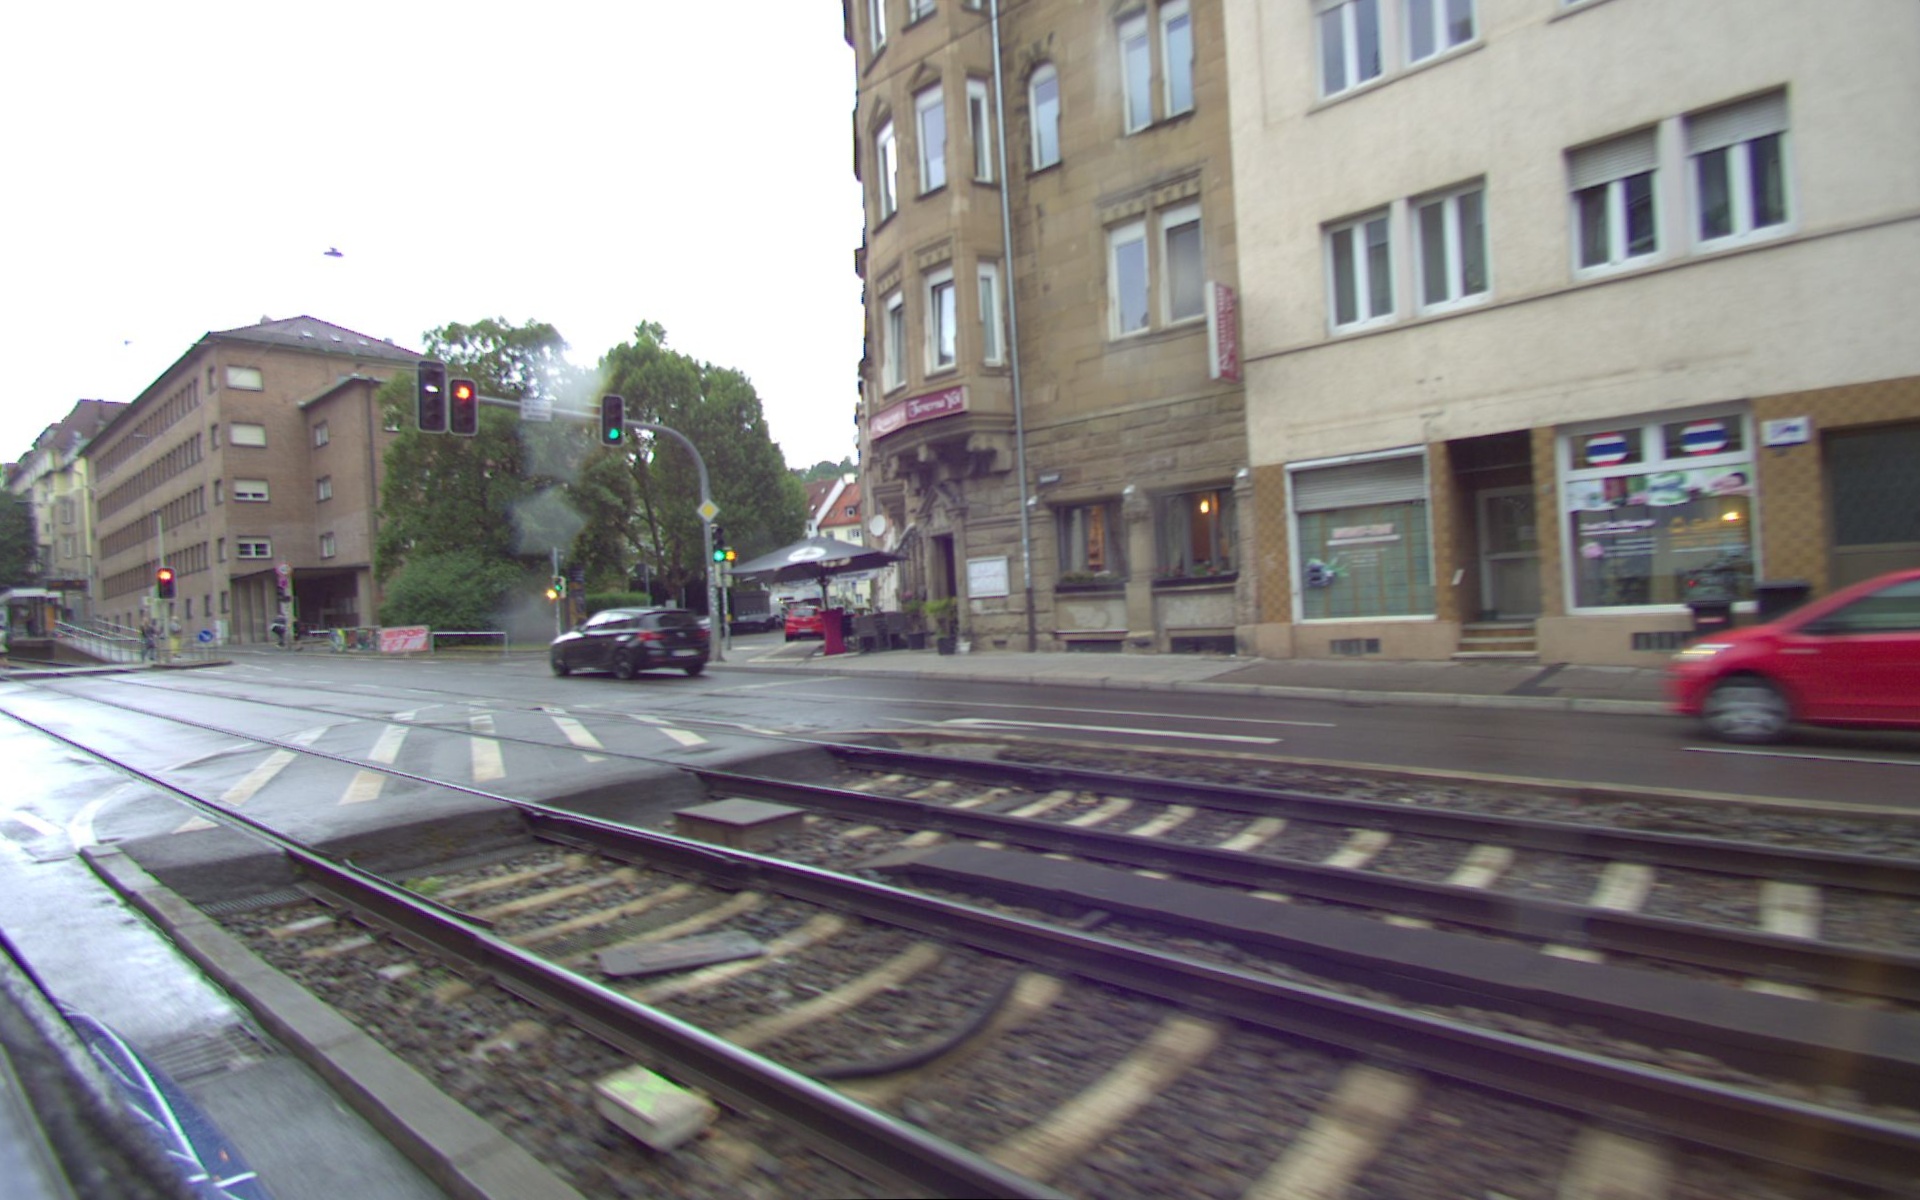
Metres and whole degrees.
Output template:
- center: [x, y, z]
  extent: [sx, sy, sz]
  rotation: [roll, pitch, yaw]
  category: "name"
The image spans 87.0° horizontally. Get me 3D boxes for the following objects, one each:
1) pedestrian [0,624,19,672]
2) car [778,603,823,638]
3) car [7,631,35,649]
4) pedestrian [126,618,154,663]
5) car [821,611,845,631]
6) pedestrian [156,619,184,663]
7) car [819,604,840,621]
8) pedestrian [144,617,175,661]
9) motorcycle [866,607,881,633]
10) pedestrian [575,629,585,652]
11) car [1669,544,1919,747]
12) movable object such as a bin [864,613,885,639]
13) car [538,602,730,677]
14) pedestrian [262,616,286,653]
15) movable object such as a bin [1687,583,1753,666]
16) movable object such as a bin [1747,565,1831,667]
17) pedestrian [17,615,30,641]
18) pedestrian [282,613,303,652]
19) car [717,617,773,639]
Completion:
- center: [-32.648, 1.640, 34.337]
  extent: [0.949, 1.595, 0.690]
  rotation: [-2, -1, 20]
  category: "pedestrian"
- center: [-6.804, 0.871, 43.499]
  extent: [1.715, 1.413, 4.006]
  rotation: [-1, -1, -7]
  category: "car"
- center: [-86.657, 3.688, 93.386]
  extent: [3.111, 1.477, 1.626]
  rotation: [-2, 0, 43]
  category: "car"
- center: [-32.454, 1.589, 40.067]
  extent: [0.688, 1.711, 0.658]
  rotation: [-1, 3, 39]
  category: "pedestrian"
- center: [-9.698, 1.593, 77.517]
  extent: [1.715, 1.413, 4.006]
  rotation: [-1, -1, -7]
  category: "car"
- center: [-30.961, 1.600, 39.655]
  extent: [0.640, 1.659, 0.736]
  rotation: [0, 2, 42]
  category: "pedestrian"
- center: [-11.472, 1.097, 88.946]
  extent: [1.715, 1.413, 4.006]
  rotation: [-1, -1, -7]
  category: "car"
- center: [-32.630, 1.585, 41.257]
  extent: [0.882, 1.709, 0.736]
  rotation: [-1, 2, 40]
  category: "pedestrian"
- center: [-4.413, 1.010, 51.643]
  extent: [0.737, 1.265, 1.861]
  rotation: [-1, -1, -6]
  category: "motorcycle"
- center: [-18.468, 1.954, 49.189]
  extent: [0.411, 1.093, 0.283]
  rotation: [-1, -1, -25]
  category: "pedestrian"
- center: [7.850, 0.322, 7.957]
  extent: [3.518, 1.508, 1.662]
  rotation: [-2, -1, 42]
  category: "car"
- center: [-3.473, 1.053, 41.004]
  extent: [0.709, 1.050, 0.553]
  rotation: [-1, -1, -18]
  category: "movable object such as a bin"
- center: [-6.856, 0.796, 21.065]
  extent: [4.273, 1.407, 1.927]
  rotation: [-2, -2, 42]
  category: "car"
- center: [-31.703, 1.600, 46.784]
  extent: [0.648, 1.663, 0.757]
  rotation: [-2, -1, 41]
  category: "pedestrian"
- center: [9.054, 0.282, 12.059]
  extent: [0.560, 0.917, 0.587]
  rotation: [-2, 3, 41]
  category: "movable object such as a bin"
- center: [9.502, 0.175, 11.598]
  extent: [0.687, 1.082, 0.706]
  rotation: [-2, 3, 41]
  category: "movable object such as a bin"
- center: [-61.762, 1.861, 66.756]
  extent: [0.491, 1.722, 0.581]
  rotation: [-3, -1, 41]
  category: "pedestrian"
- center: [-29.719, 1.439, 45.062]
  extent: [0.688, 1.688, 0.597]
  rotation: [-3, -2, 39]
  category: "pedestrian"
- center: [-16.261, 2.115, 76.547]
  extent: [3.939, 1.489, 1.744]
  rotation: [-1, -1, -4]
  category: "car"
